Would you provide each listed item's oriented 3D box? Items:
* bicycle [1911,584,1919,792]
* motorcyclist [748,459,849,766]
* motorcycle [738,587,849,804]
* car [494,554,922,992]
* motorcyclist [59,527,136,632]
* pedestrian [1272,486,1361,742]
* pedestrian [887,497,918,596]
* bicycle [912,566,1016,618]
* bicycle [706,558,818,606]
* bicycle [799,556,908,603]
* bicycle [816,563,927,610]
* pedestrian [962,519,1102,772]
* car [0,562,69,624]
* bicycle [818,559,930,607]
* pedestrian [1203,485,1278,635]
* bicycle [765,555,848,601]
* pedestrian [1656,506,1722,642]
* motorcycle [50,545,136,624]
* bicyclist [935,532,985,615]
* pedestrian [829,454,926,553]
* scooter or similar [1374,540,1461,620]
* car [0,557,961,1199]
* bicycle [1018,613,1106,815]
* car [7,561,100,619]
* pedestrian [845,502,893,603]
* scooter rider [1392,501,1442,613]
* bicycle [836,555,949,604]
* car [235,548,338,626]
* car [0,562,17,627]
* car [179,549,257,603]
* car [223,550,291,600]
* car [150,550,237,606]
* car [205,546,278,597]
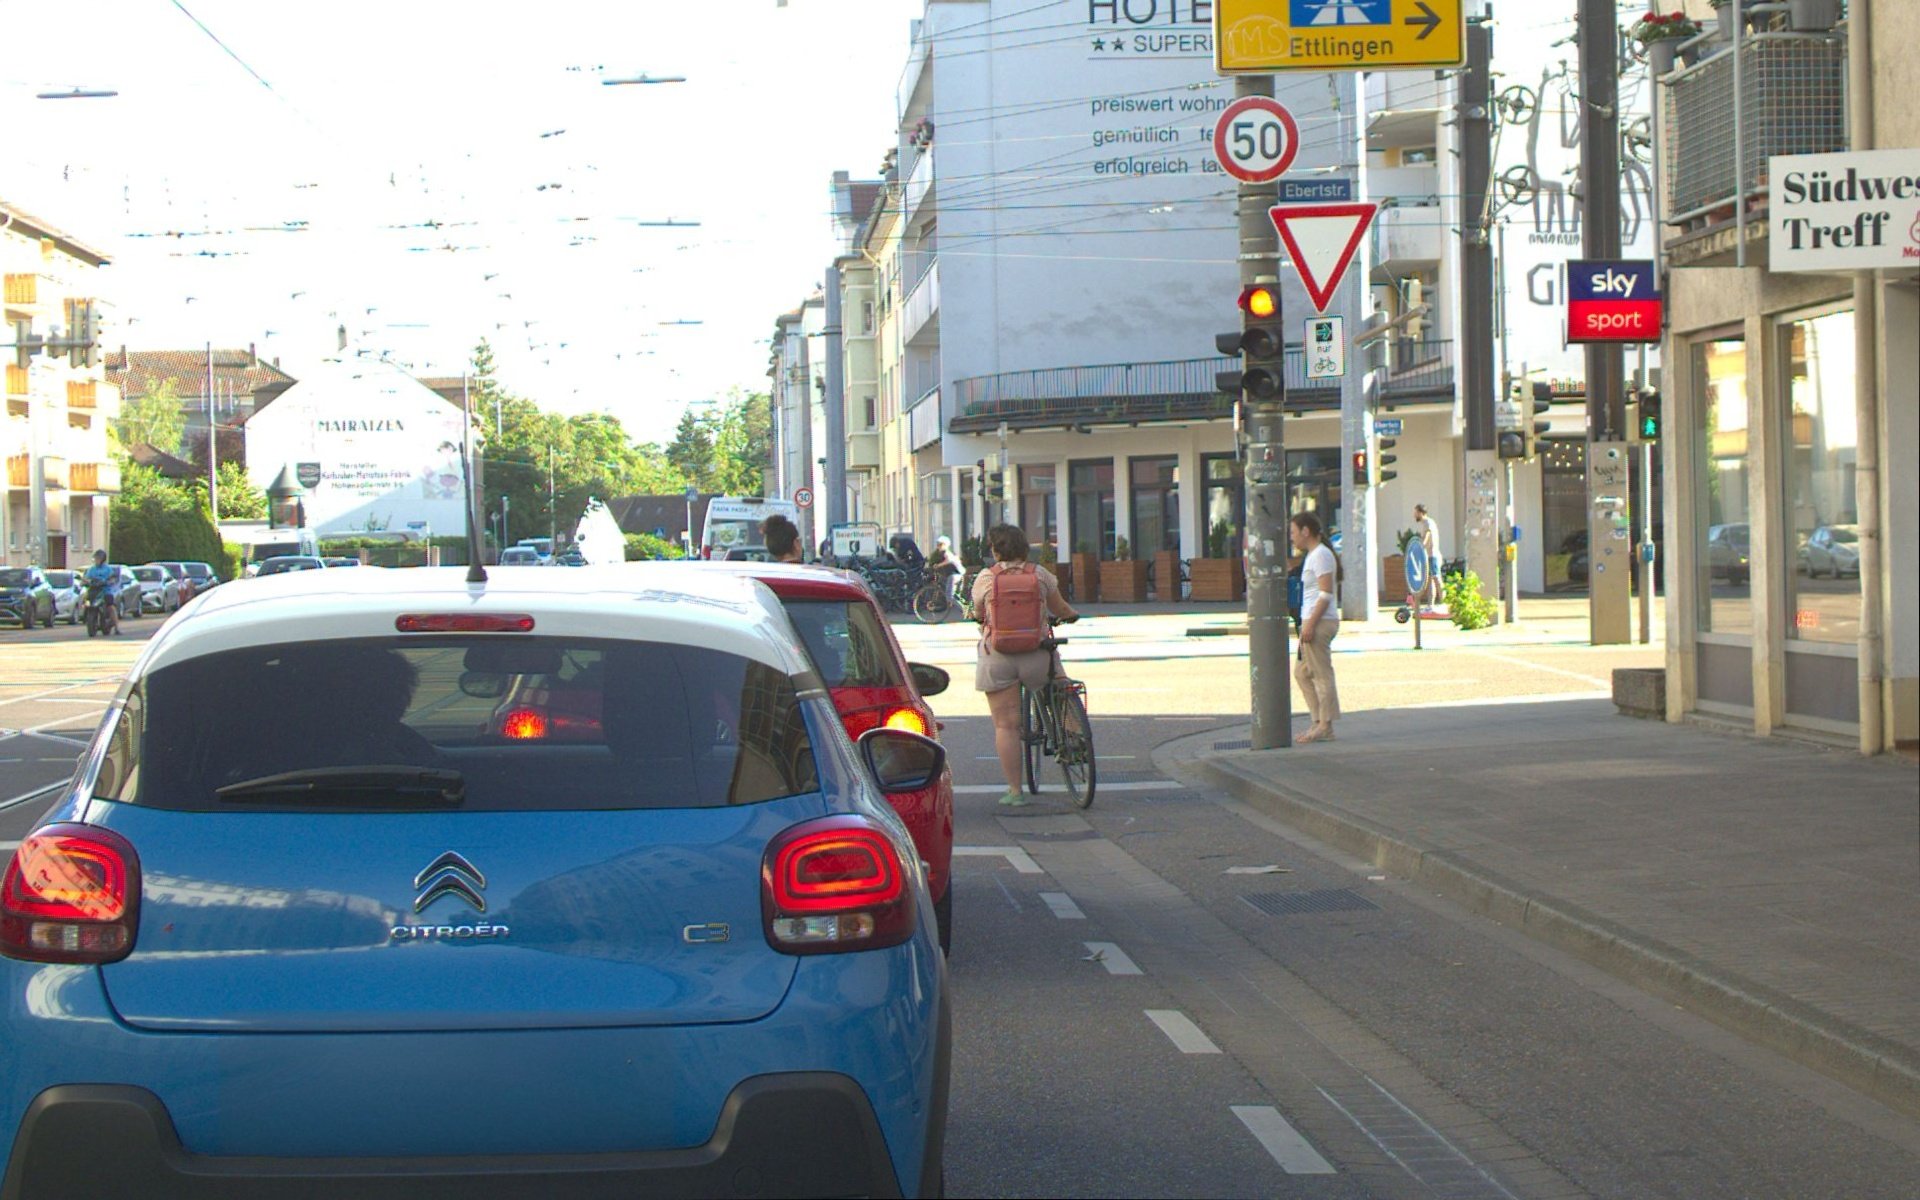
[{"bbox_3d":[4.880,0.432,15.747,0.542,0.995,1.706,1,1,-1],"label":"bicycle"},{"bbox_3d":[-0.916,0.068,19.627,0.526,1.710,0.717,1,0,-1],"label":"motorcyclist"},{"bbox_3d":[-0.923,0.503,19.444,0.526,1.136,2.290,1,1,-1],"label":"motorcycle"},{"bbox_3d":[-0.873,0.577,13.171,1.424,1.462,2.924,-1,0,-1],"label":"car"},{"bbox_3d":[-16.852,-0.408,67.225,1.185,2.007,1.276,-1,1,-3],"label":"motorcyclist"},{"bbox_3d":[2.515,0.096,24.273,0.517,1.777,0.595,1,0,-2],"label":"pedestrian"},{"bbox_3d":[-1.174,-1.090,70.219,0.577,2.007,0.626,1,0,-3],"label":"pedestrian"},{"bbox_3d":[0.071,-0.150,61.894,1.855,0.900,0.349,1,0,19],"label":"bicycle"},{"bbox_3d":[-3.819,-0.349,66.312,2.132,0.898,0.367,1,0,-9],"label":"bicycle"},{"bbox_3d":[-2.119,-0.406,68.283,2.132,0.898,0.367,1,0,-9],"label":"bicycle"},{"bbox_3d":[-1.735,-0.273,67.593,2.132,0.898,0.367,1,0,-9],"label":"bicycle"},{"bbox_3d":[0.417,0.261,20.218,0.777,1.455,0.682,1,0,-1],"label":"pedestrian"},{"bbox_3d":[-23.615,-0.200,86.112,1.785,1.493,4.001,1,1,-4],"label":"car"},{"bbox_3d":[-1.680,-0.328,67.167,2.132,0.898,0.367,1,0,-9],"label":"bicycle"},{"bbox_3d":[3.821,-0.545,46.923,0.926,2.007,0.759,1,0,-1],"label":"pedestrian"},{"bbox_3d":[-3.106,-0.444,69.482,1.785,0.898,0.366,1,1,34],"label":"bicycle"},{"bbox_3d":[8.675,-0.313,40.879,0.736,1.595,0.748,1,0,13],"label":"pedestrian"},{"bbox_3d":[-16.830,-0.319,66.820,0.923,1.481,3.726,1,1,-3],"label":"motorcycle"},{"bbox_3d":[0.003,-0.476,61.934,0.746,1.472,0.562,1,0,19],"label":"bicyclist"},{"bbox_3d":[-1.744,-2.033,73.538,1.993,2.007,4.000,1,1,-1],"label":"pedestrian"},{"bbox_3d":[7.571,-0.336,56.922,1.350,1.265,0.443,-2,0,3],"label":"scooter or similar"},{"bbox_3d":[-0.855,0.643,7.180,1.654,1.439,3.523,1,1,-1],"label":"car"},{"bbox_3d":[0.599,0.654,20.605,0.427,1.119,1.998,1,1,-1],"label":"bicycle"},{"bbox_3d":[-24.283,-0.278,92.219,1.732,1.493,4.001,1,1,-5],"label":"car"},{"bbox_3d":[-1.828,-0.953,69.149,0.630,2.007,0.724,1,0,-36],"label":"pedestrian"},{"bbox_3d":[7.558,-0.710,56.891,0.722,1.826,0.717,-1,1,2],"label":"scooter rider"},{"bbox_3d":[-1.296,-0.397,66.061,2.132,0.898,0.367,1,0,-9],"label":"bicycle"},{"bbox_3d":[-14.943,-0.305,76.439,1.774,1.660,3.857,1,1,-4],"label":"car"},{"bbox_3d":[-23.189,-0.133,79.344,1.787,1.506,4.150,1,1,-2],"label":"car"},{"bbox_3d":[-24.016,-0.780,111.342,1.882,1.681,4.001,1,1,-4],"label":"car"},{"bbox_3d":[-24.779,-0.890,121.281,1.846,1.681,3.875,1,1,-4],"label":"car"},{"bbox_3d":[-23.631,-0.688,106.152,1.983,1.681,4.001,1,1,-3],"label":"car"},{"bbox_3d":[-24.354,-0.969,116.644,1.833,1.681,4.001,1,1,-4],"label":"car"}]
